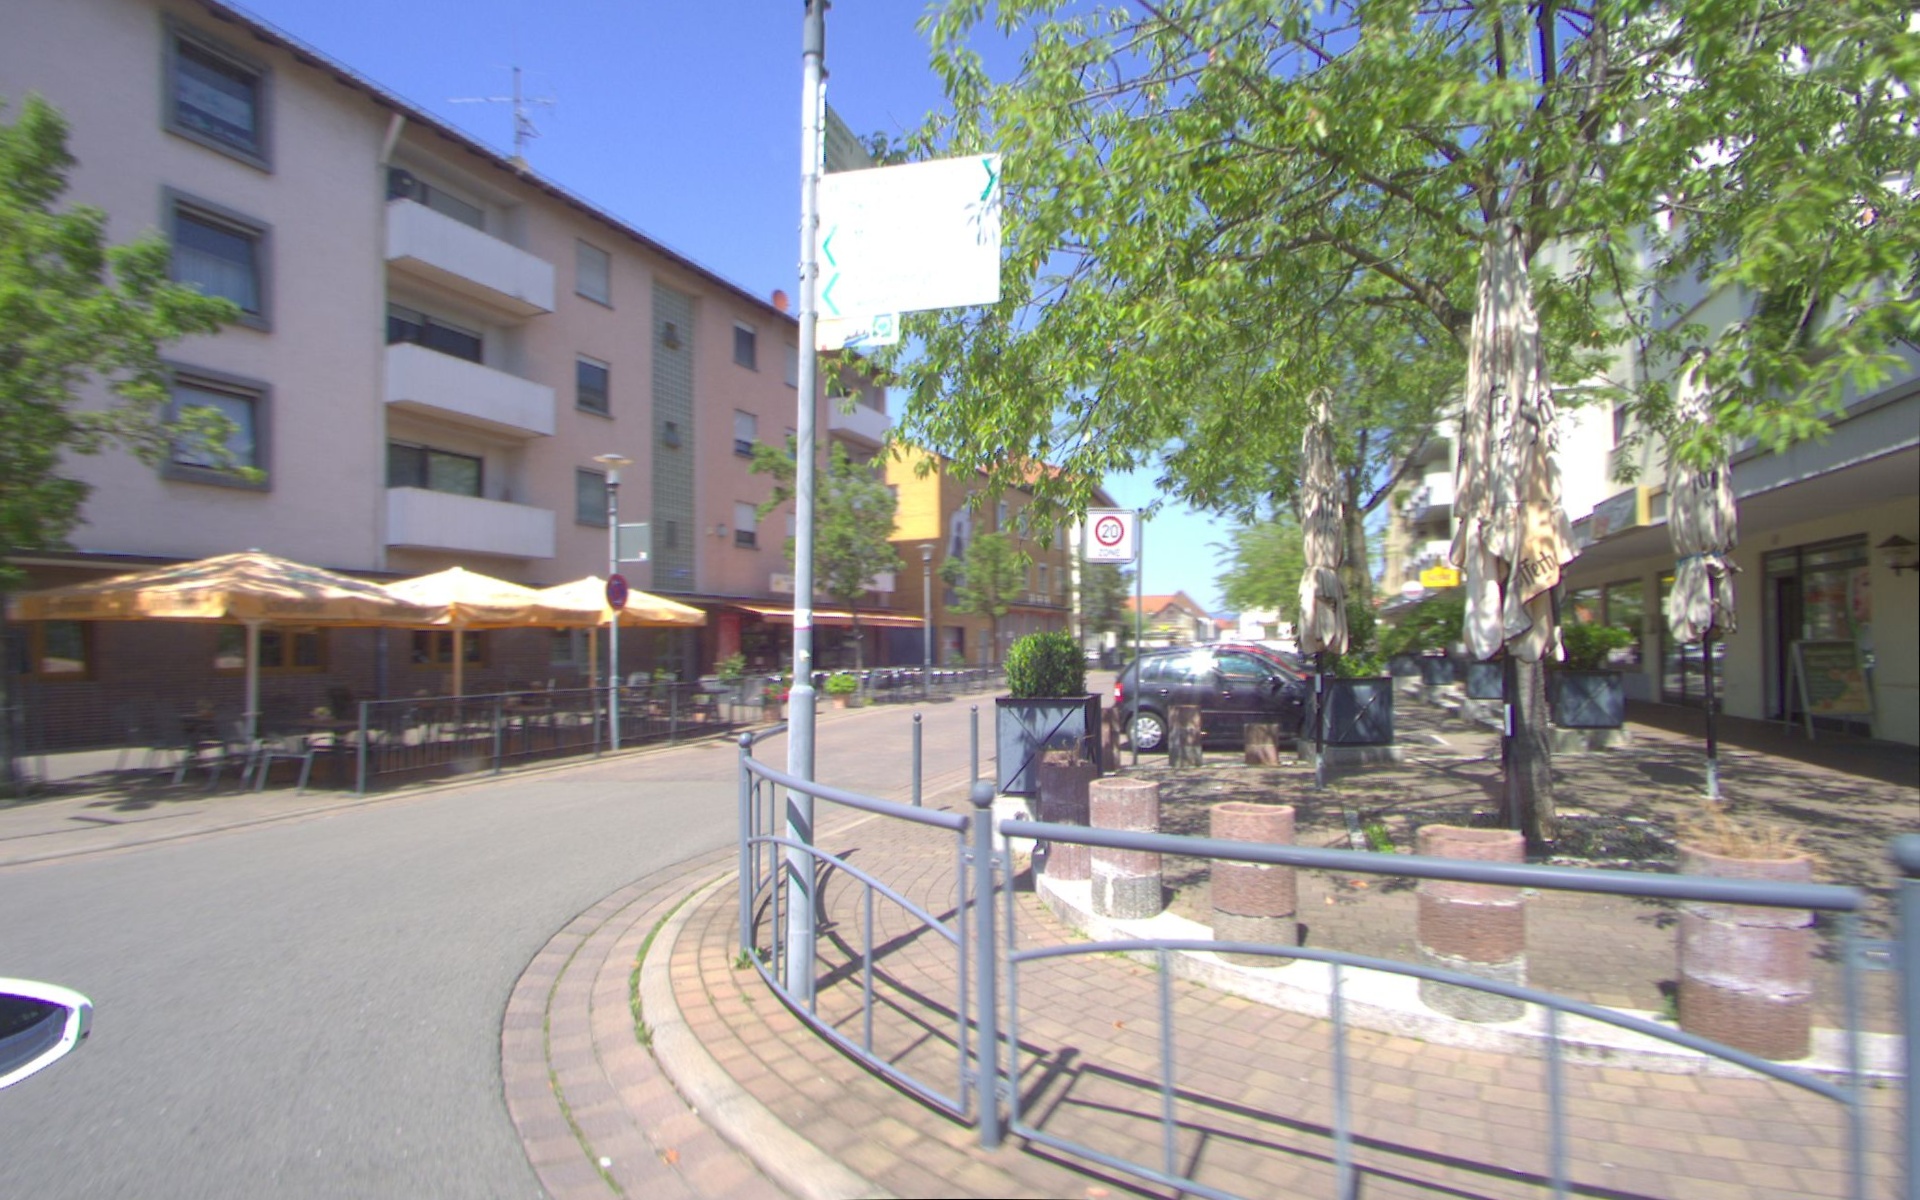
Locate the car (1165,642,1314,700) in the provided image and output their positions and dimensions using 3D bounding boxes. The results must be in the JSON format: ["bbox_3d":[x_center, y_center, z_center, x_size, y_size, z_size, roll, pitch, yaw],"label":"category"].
[{"bbox_3d":[8.245,2.052,29.534,4.094,1.594,1.756,-1,-1,20],"label":"car"}]

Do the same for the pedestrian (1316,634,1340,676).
[{"bbox_3d":[15.841,2.359,43.143,0.824,1.810,0.806,-1,-1,12],"label":"pedestrian"}]

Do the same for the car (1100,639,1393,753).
[{"bbox_3d":[4.171,1.387,14.845,3.900,1.529,1.771,-2,-3,17],"label":"car"}]

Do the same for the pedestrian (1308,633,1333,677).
[{"bbox_3d":[15.024,2.280,41.681,0.828,1.810,0.803,-1,-1,30],"label":"pedestrian"}]

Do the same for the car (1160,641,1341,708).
[{"bbox_3d":[7.103,1.820,24.803,4.118,1.560,1.945,-1,-2,14],"label":"car"}]

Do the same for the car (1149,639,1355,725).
[{"bbox_3d":[5.700,1.601,19.697,3.669,1.554,1.763,-3,-2,18],"label":"car"}]

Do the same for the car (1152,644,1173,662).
[{"bbox_3d":[18.808,4.919,92.906,1.485,1.519,3.822,-1,-2,18],"label":"car"}]

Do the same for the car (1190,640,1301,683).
[{"bbox_3d":[11.439,2.459,40.224,4.181,1.636,1.557,-1,-2,17],"label":"car"}]

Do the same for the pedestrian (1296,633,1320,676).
[{"bbox_3d":[14.877,2.317,42.835,0.824,1.810,0.806,-1,-1,12],"label":"pedestrian"}]

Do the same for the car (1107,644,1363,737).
[{"bbox_3d":[4.721,1.561,17.392,4.037,1.449,1.781,-3,-2,18],"label":"car"}]
